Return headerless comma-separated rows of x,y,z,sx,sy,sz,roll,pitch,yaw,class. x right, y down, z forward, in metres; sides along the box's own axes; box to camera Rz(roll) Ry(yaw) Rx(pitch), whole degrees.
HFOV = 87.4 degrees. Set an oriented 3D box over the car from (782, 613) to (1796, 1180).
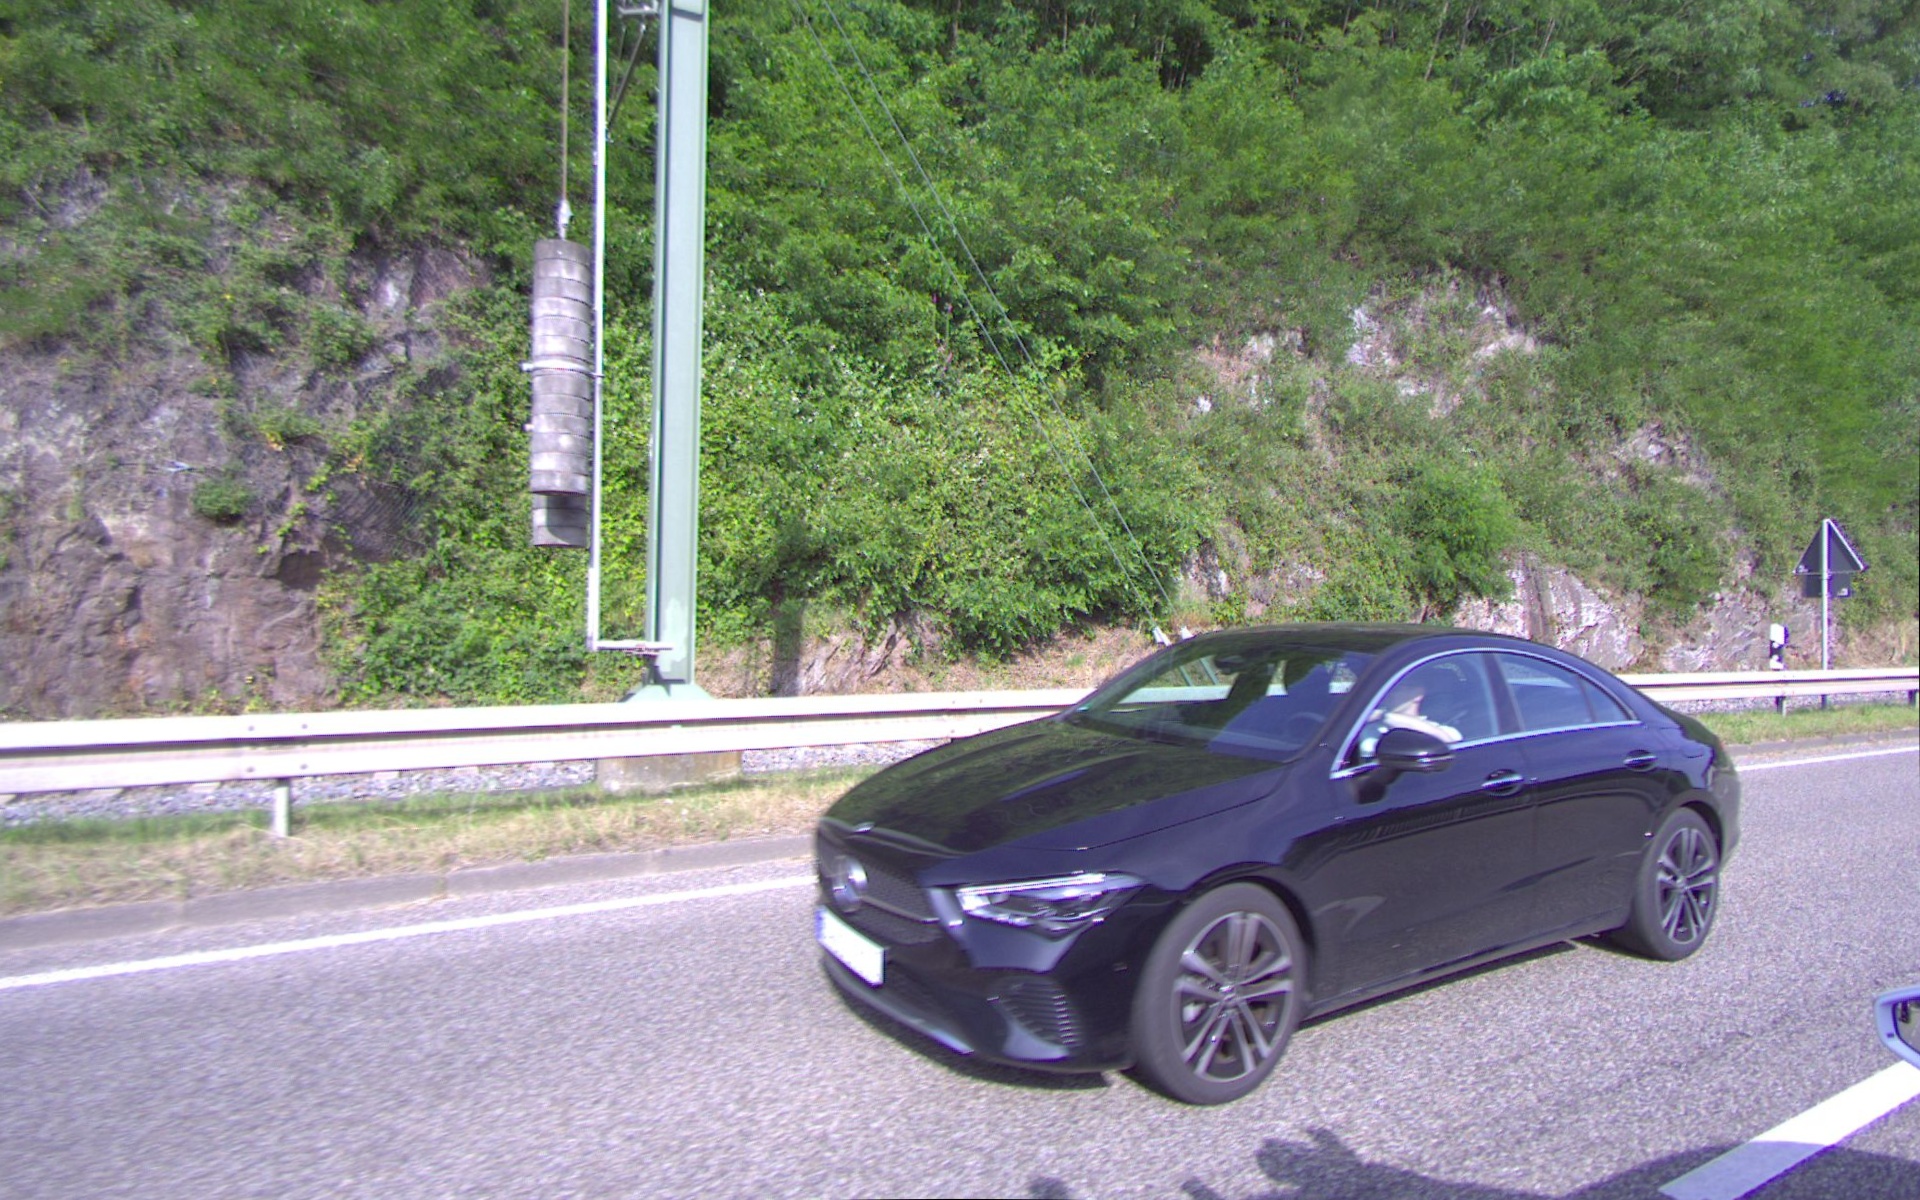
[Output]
1.627,0.792,4.476,4.423,1.421,1.838,1,0,-30,car
